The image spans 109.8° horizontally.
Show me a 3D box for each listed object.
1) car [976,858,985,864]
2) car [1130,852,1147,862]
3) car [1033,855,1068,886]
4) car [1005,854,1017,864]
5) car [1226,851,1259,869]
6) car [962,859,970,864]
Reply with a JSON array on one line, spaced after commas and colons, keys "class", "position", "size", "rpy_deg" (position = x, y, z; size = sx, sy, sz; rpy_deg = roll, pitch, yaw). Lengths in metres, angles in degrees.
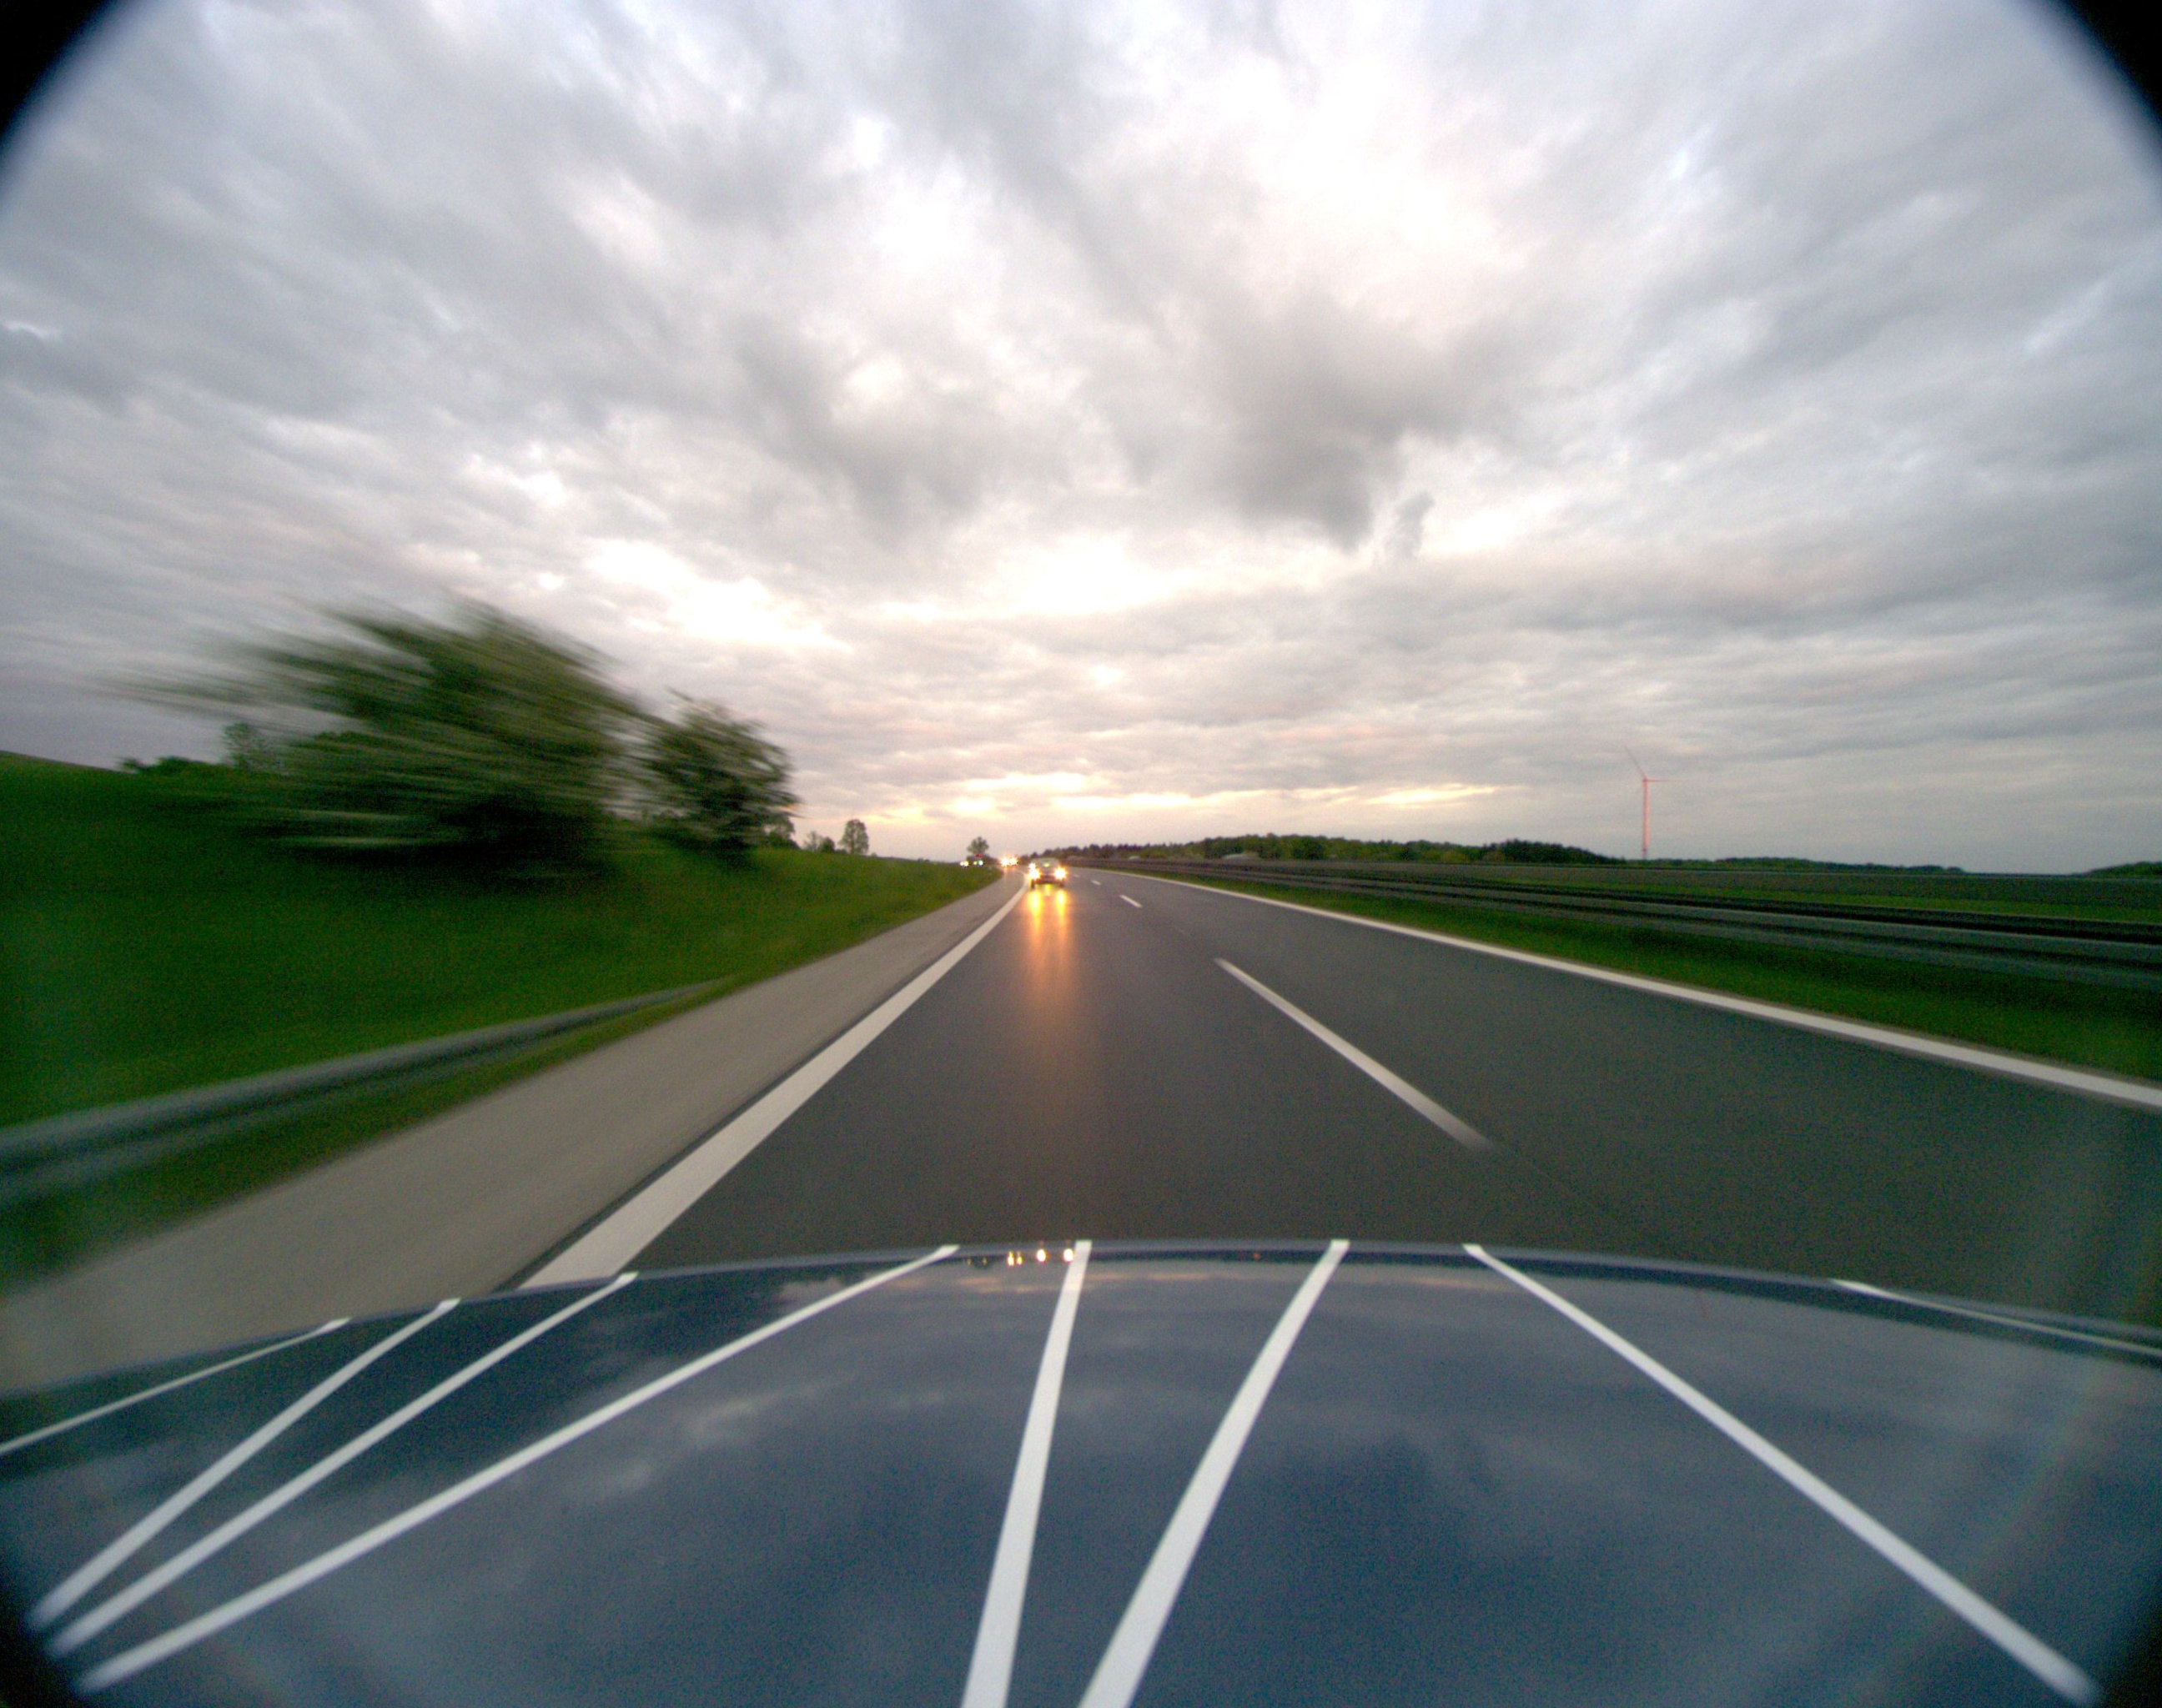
[{"class": "car", "position": [-27.606, 2.006, 209.189], "size": [1.805, 1.635, 4.088], "rpy_deg": [-1, 0, -17]}, {"class": "car", "position": [8.526, 0.472, 112.732], "size": [1.659, 1.410, 3.997], "rpy_deg": [-2, 0, -8]}, {"class": "car", "position": [-1.600, 0.808, 39.643], "size": [1.682, 1.504, 3.999], "rpy_deg": [-2, 0, -3]}, {"class": "car", "position": [-13.059, 0.925, 141.804], "size": [1.921, 1.827, 3.997], "rpy_deg": [0, 0, -9]}, {"class": "car", "position": [12.811, 0.487, 60.526], "size": [1.643, 1.280, 3.950], "rpy_deg": [2, -1, -2]}, {"class": "car", "position": [-34.940, 2.236, 231.464], "size": [1.804, 1.635, 4.088], "rpy_deg": [-1, 0, -16]}]
